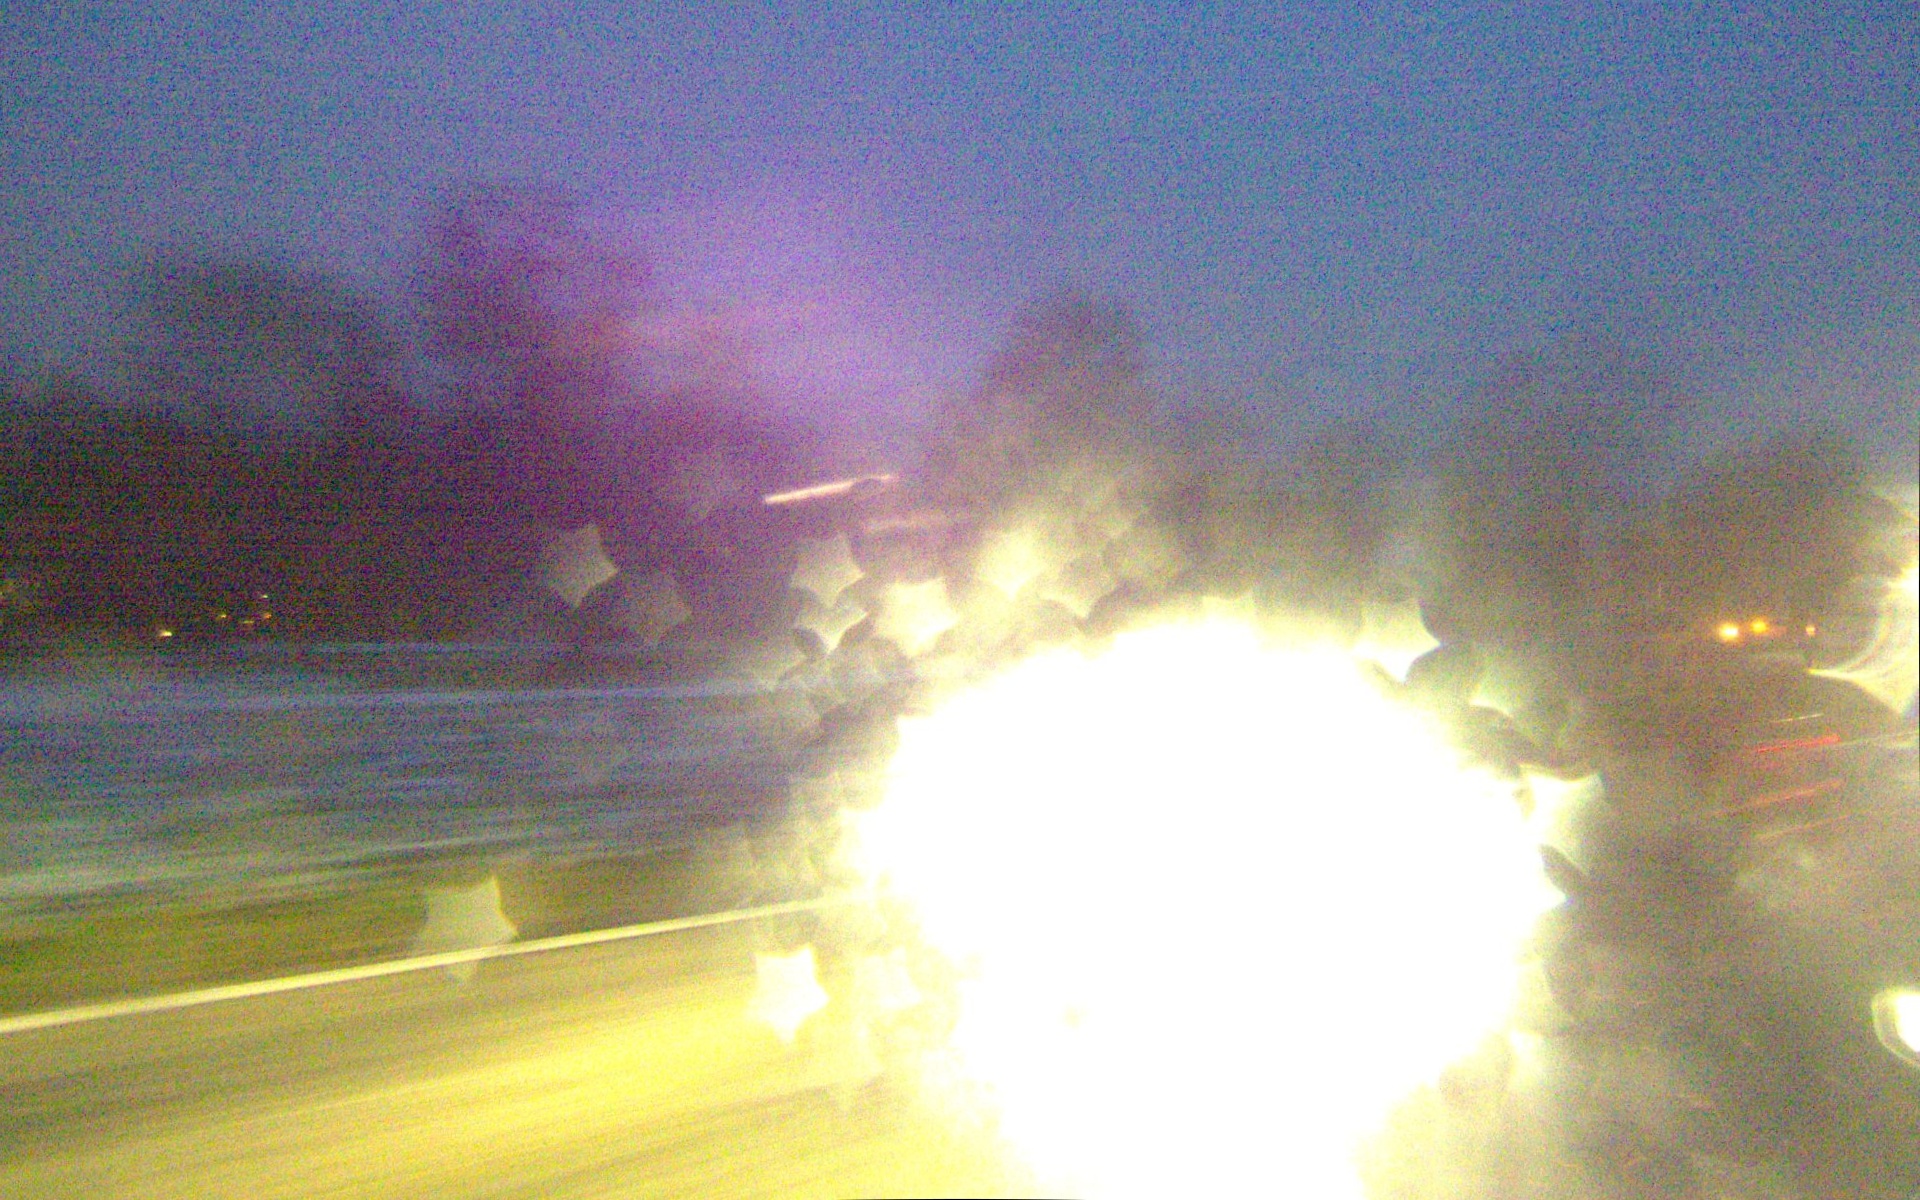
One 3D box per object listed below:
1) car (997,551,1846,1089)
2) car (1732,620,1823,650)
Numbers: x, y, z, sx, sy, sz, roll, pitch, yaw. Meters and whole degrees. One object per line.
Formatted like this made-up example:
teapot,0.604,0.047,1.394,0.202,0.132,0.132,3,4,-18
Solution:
car,2.304,0.677,4.643,4.051,1.530,1.626,2,0,-32
car,49.017,2.094,60.325,4.095,1.709,1.689,-1,-3,35
